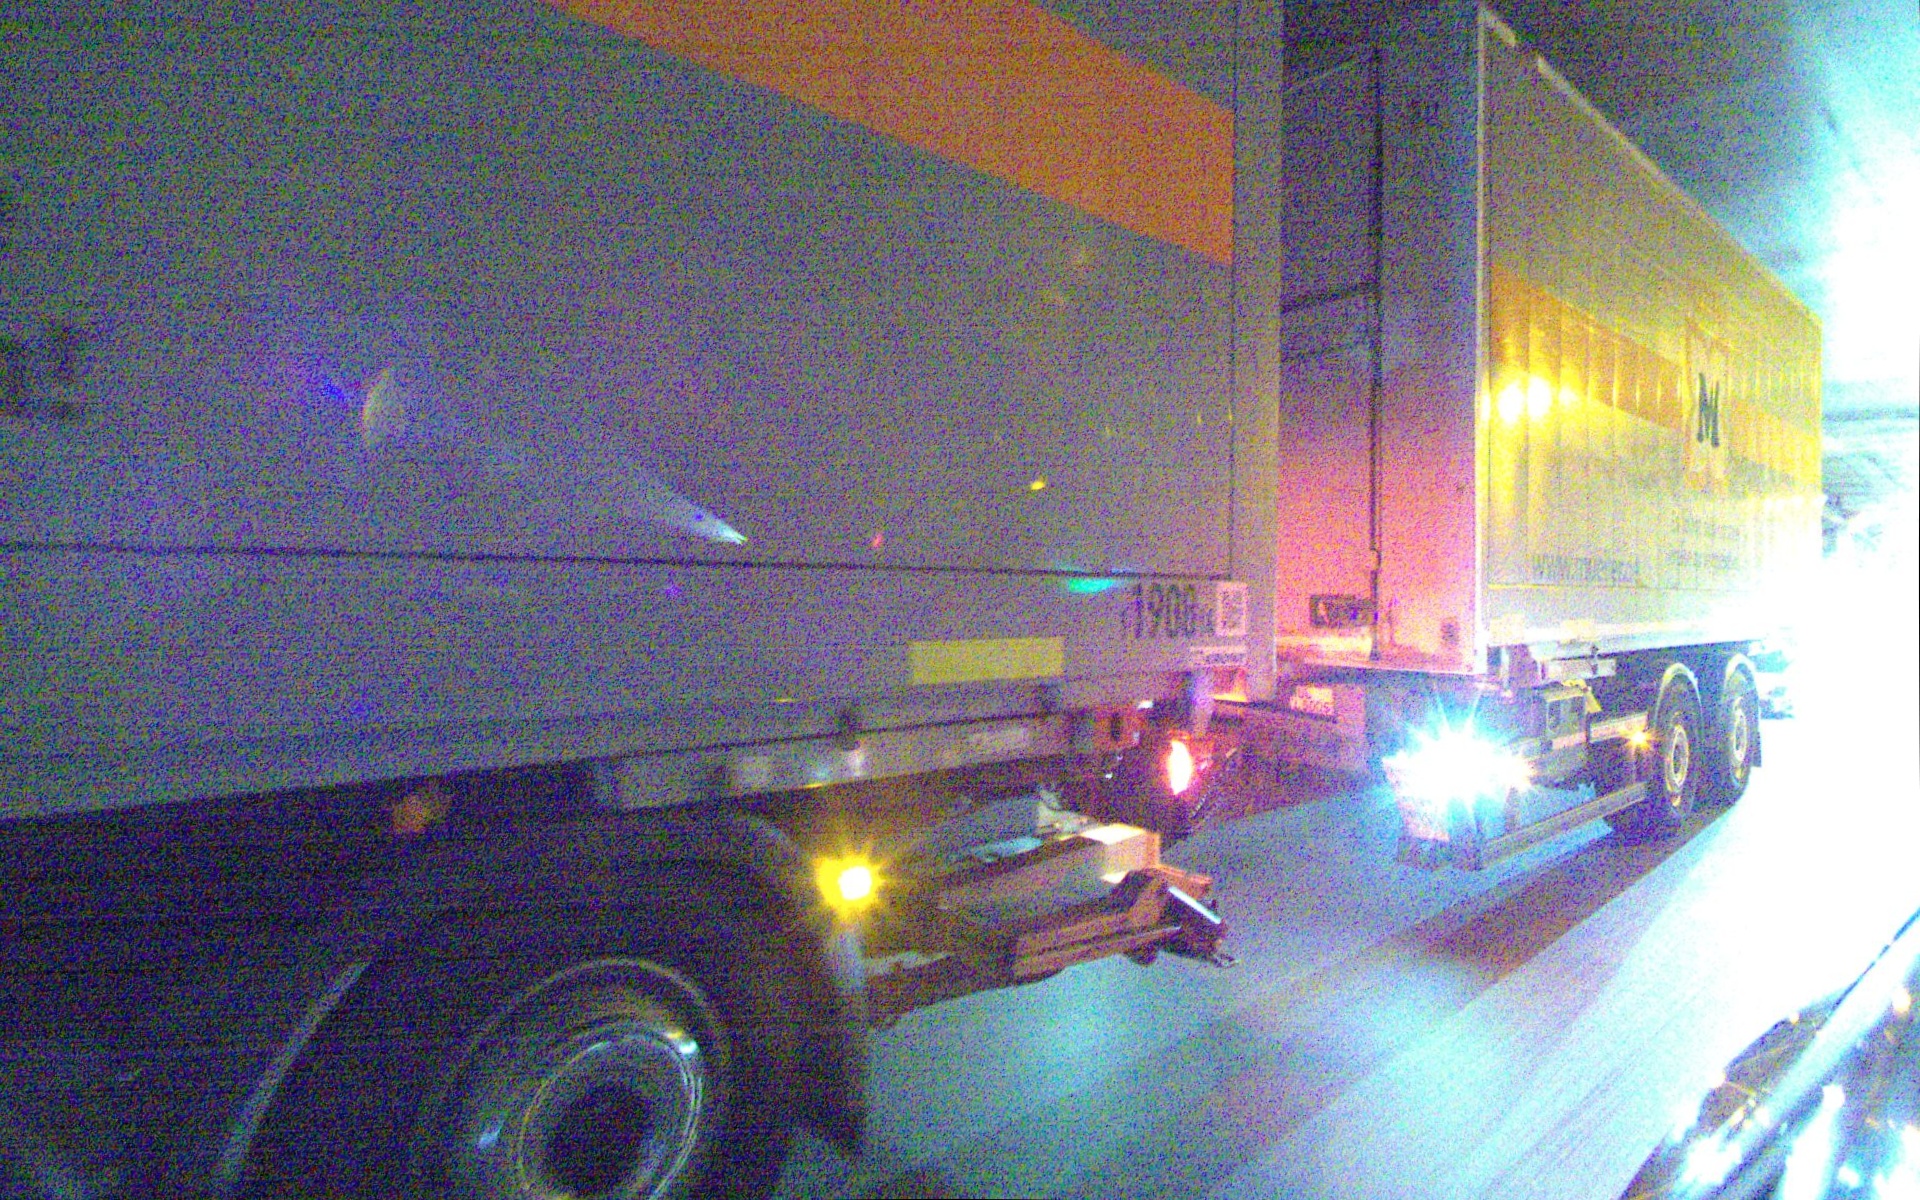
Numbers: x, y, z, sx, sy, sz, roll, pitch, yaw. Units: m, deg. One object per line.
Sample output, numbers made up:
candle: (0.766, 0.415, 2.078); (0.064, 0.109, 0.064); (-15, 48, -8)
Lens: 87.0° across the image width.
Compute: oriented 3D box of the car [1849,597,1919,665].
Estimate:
car: (21.834, 0.665, 23.193); (3.733, 1.421, 1.733); (-1, 0, -42)

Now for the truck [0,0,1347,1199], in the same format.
truck: (-3.359, -0.610, 1.047); (9.738, 3.963, 2.893); (0, 1, -42)

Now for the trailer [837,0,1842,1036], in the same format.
trailer: (3.596, -0.598, 7.197); (8.791, 3.907, 2.880); (0, 0, -41)
